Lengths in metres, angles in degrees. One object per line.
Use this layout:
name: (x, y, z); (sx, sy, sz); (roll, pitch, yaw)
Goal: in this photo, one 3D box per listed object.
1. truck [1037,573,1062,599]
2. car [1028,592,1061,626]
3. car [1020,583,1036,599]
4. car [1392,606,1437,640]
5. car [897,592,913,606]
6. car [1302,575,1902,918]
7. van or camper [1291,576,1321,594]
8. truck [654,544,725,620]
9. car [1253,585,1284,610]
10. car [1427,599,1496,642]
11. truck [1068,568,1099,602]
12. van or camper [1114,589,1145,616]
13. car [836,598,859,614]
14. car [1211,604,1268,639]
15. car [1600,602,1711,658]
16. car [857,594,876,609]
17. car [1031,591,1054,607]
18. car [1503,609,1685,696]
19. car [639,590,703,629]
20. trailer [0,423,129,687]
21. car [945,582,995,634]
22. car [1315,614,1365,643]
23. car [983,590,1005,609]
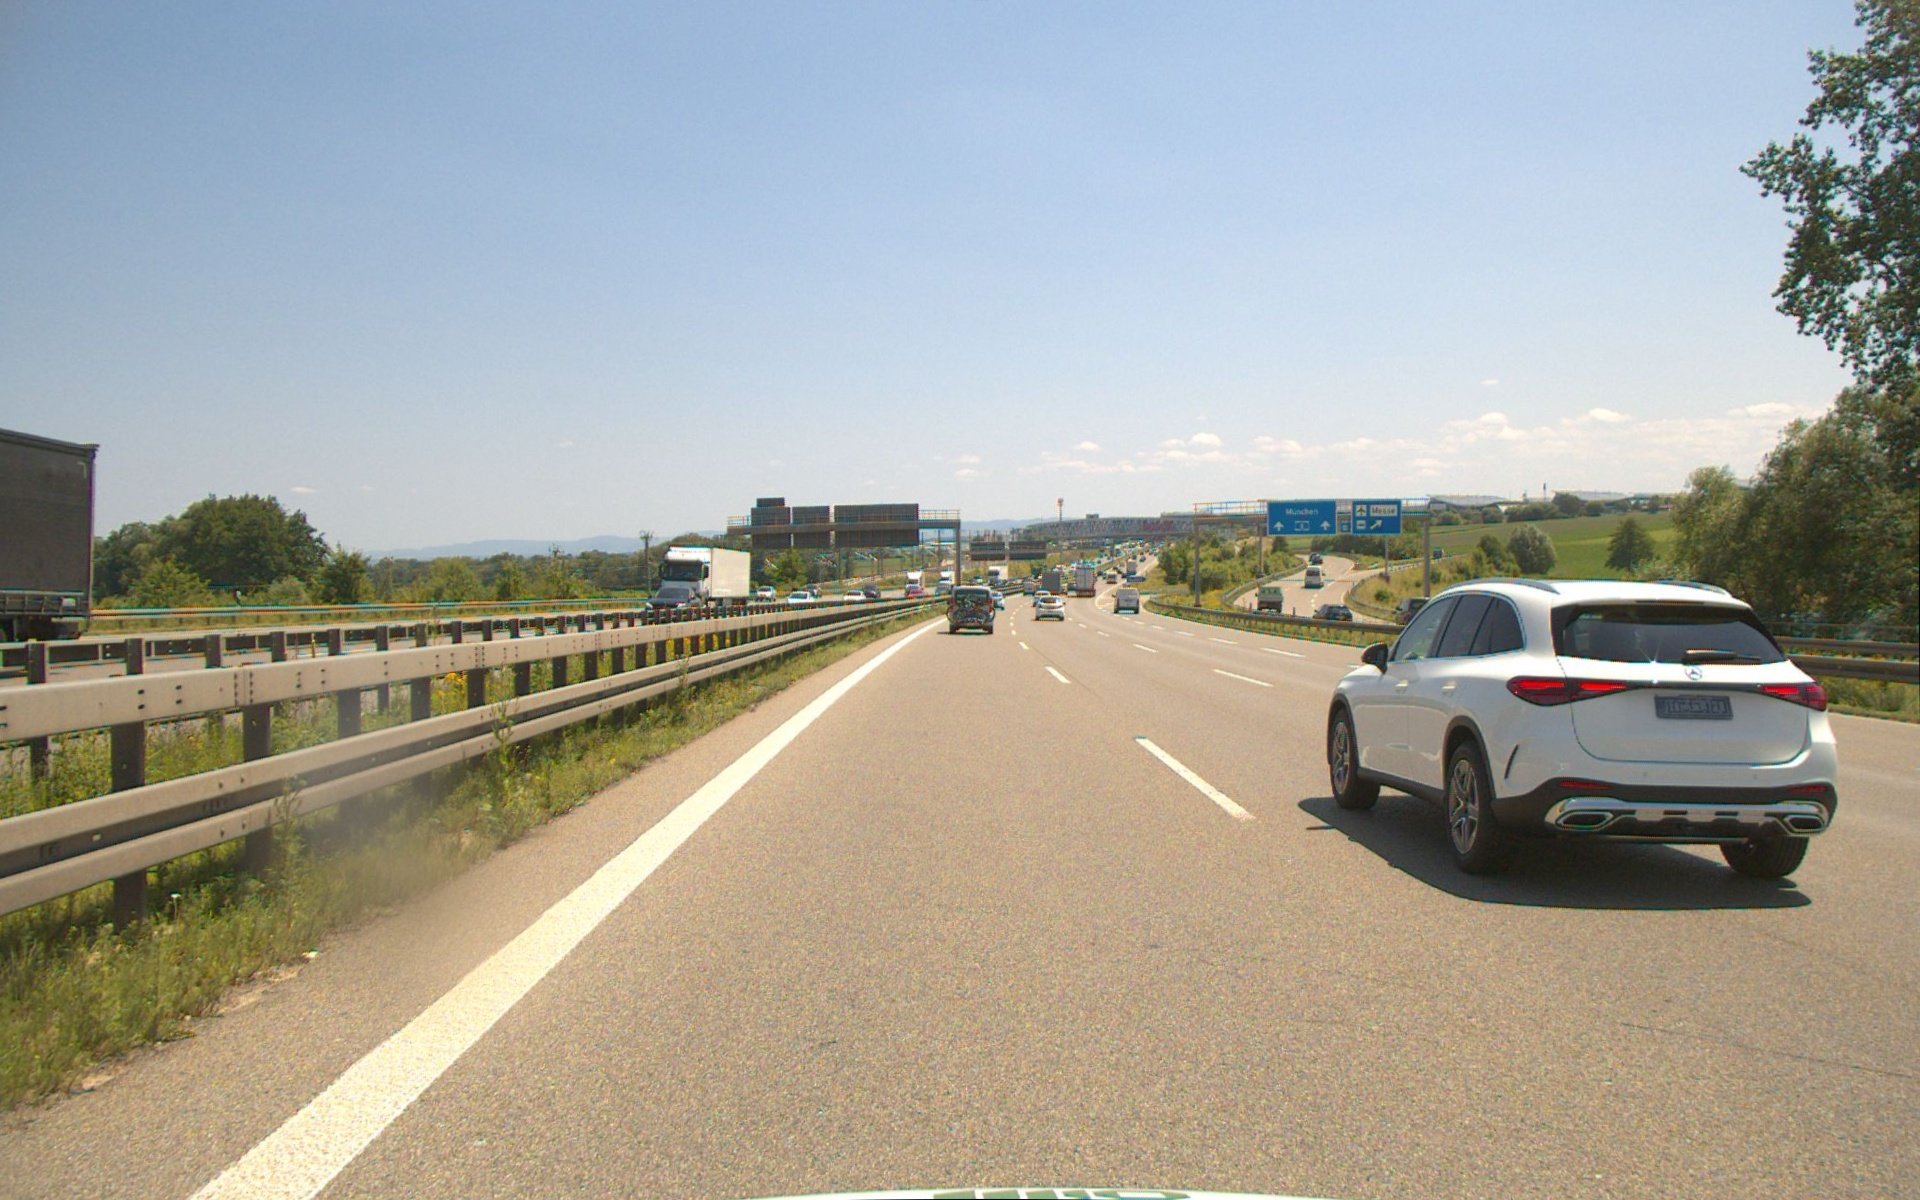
truck: (11.523, -1.738, 212.446); (2.645, 3.163, 10.666); (1, 0, 6)
car: (5.032, 0.536, 99.138); (1.887, 1.952, 4.518); (1, 0, 2)
car: (9.646, -1.232, 234.503); (2.140, 2.037, 4.004); (1, 3, 4)
car: (27.248, 1.354, 99.194); (1.898, 1.957, 4.182); (1, 0, 6)
car: (-6.774, -0.144, 204.631); (1.640, 1.643, 4.363); (1, 0, 1)
car: (3.705, 0.735, 10.690); (1.859, 1.676, 4.997); (1, 0, -1)
van or camper: (42.117, -1.784, 201.196); (2.478, 2.049, 4.458); (1, 0, -3)
truck: (-16.005, -1.018, 98.266); (2.972, 4.314, 6.686); (1, 0, 1)
car: (25.977, -0.182, 139.513); (1.952, 2.049, 4.001); (1, 0, 1)
car: (23.671, 0.962, 78.228); (1.900, 1.957, 4.177); (1, 0, -2)
truck: (17.345, -2.105, 231.095); (3.953, 4.336, 11.768); (1, 2, 6)
van or camper: (13.443, 0.208, 131.369); (2.111, 2.049, 4.305); (1, 0, 2)
car: (-10.182, 0.540, 150.303); (1.623, 1.428, 4.760); (1, 0, 2)
car: (14.113, 1.074, 83.798); (1.954, 1.720, 3.997); (1, 0, -4)
car: (21.214, 0.892, 50.594); (1.665, 1.602, 4.128); (1, 0, 0)
car: (-10.849, 0.211, 192.377); (1.809, 1.684, 4.911); (1, 0, 2)
car: (7.812, -0.070, 156.371); (1.940, 1.499, 4.003); (0, 0, 6)
car: (11.597, 0.902, 30.589); (1.748, 1.462, 4.849); (1, 0, 3)
car: (-12.776, 0.403, 73.308); (1.953, 1.673, 4.664); (1, 0, 0)
trailer: (-16.618, -0.735, 23.949); (2.831, 4.185, 12.584); (1, 0, 0)
car: (0.356, 0.325, 65.501); (1.887, 1.952, 4.947); (1, 0, 0)
car: (22.433, 1.665, 97.724); (1.953, 1.624, 3.998); (1, 0, -2)
car: (2.813, -0.034, 136.446); (1.543, 1.579, 3.966); (1, 0, 4)
